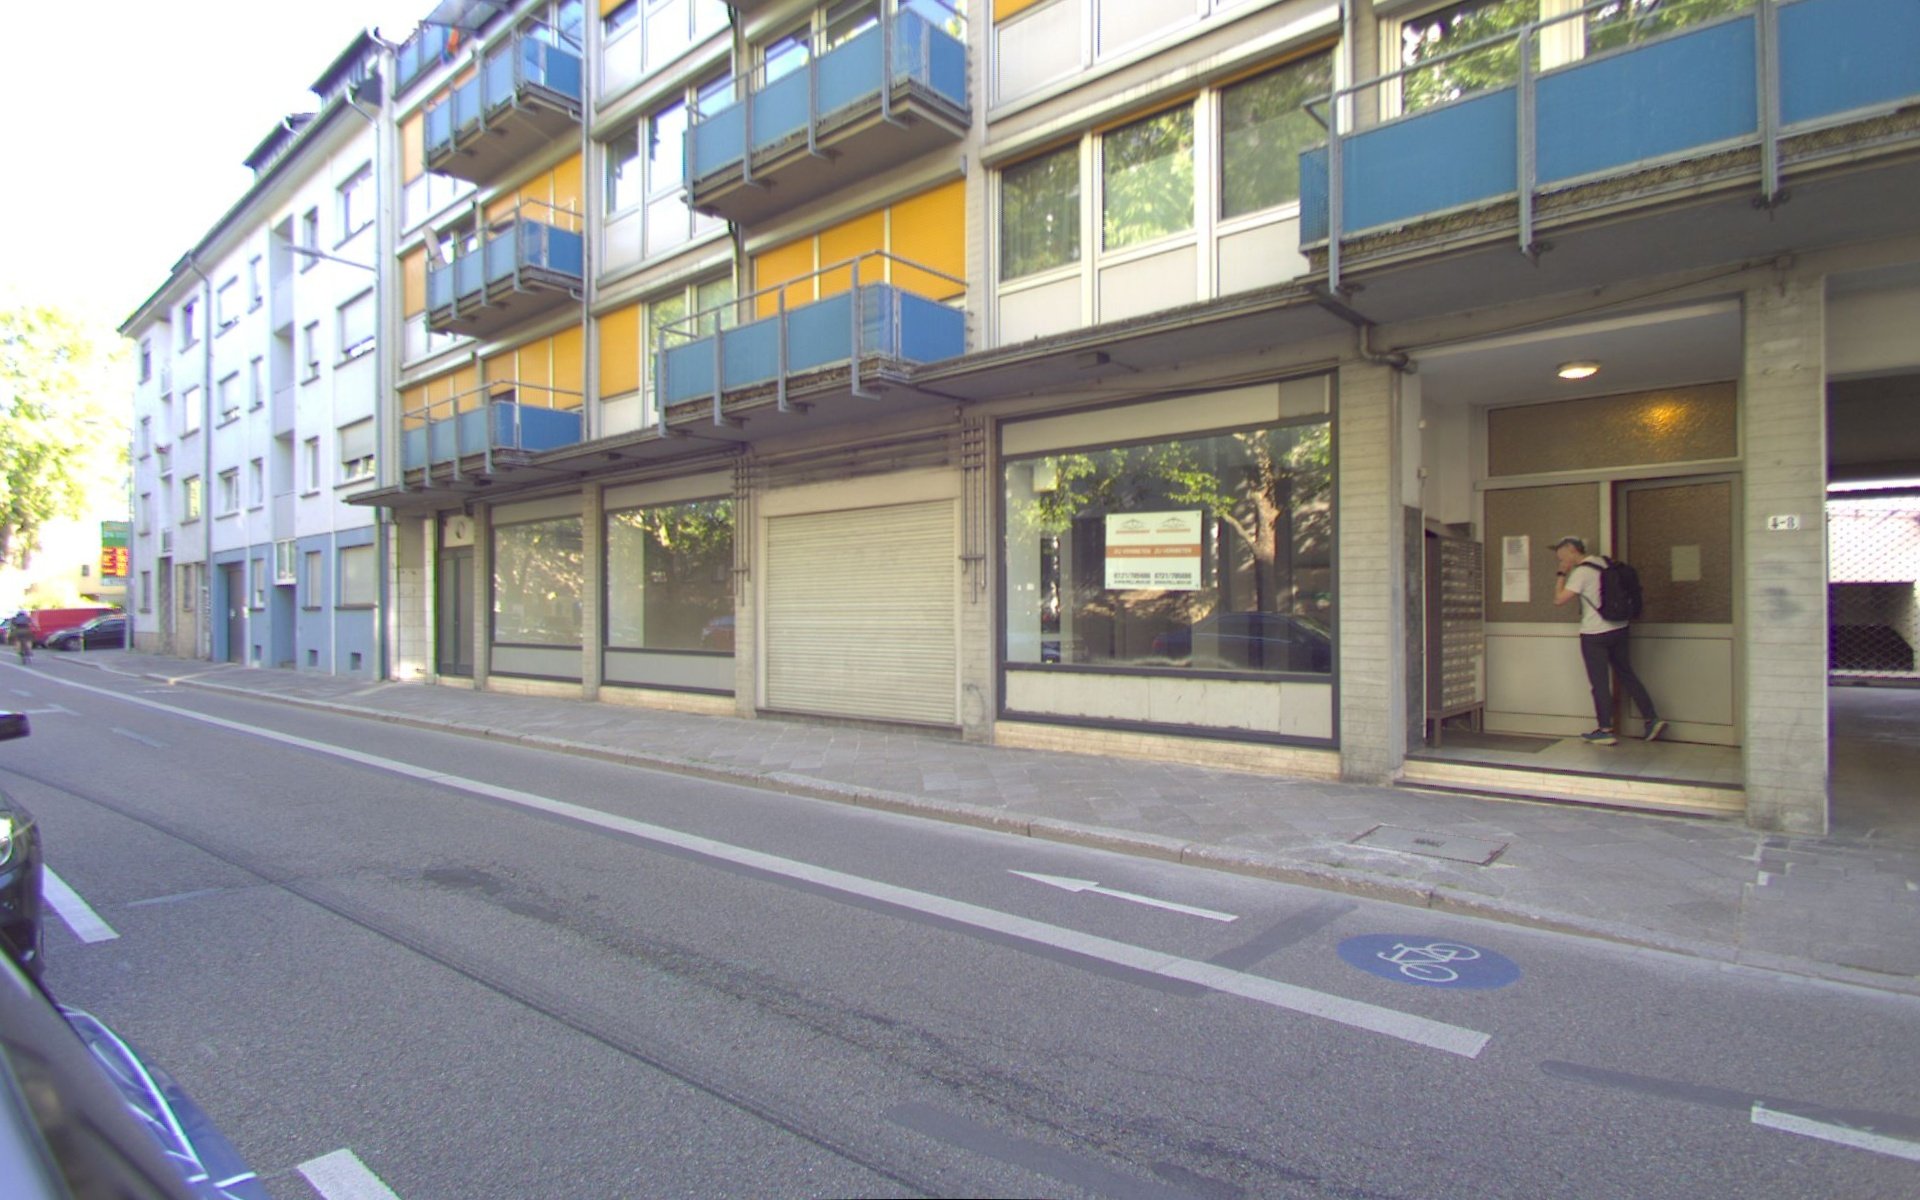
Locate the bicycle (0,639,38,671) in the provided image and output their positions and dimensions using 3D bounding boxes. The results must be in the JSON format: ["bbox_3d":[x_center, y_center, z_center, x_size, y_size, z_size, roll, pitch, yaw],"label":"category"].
[{"bbox_3d":[-30.993,1.793,33.283,2.217,0.928,0.756,-1,0,41],"label":"bicycle"}]

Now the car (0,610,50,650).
[{"bbox_3d":[-62.808,1.957,66.785,2.000,2.538,3.944,-1,0,42],"label":"car"}]

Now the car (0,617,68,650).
[{"bbox_3d":[-59.216,2.110,64.016,2.000,1.962,3.944,-1,0,42],"label":"car"}]

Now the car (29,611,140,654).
[{"bbox_3d":[-43.439,1.574,50.253,2.000,1.962,3.944,-1,0,42],"label":"car"}]

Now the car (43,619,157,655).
[{"bbox_3d":[-41.184,1.744,48.528,2.000,1.564,3.944,-1,0,42],"label":"car"}]

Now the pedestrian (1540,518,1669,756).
[{"bbox_3d":[5.451,0.296,8.564,0.573,1.894,0.787,-1,0,-44],"label":"pedestrian"}]

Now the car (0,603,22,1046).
[{"bbox_3d":[-5.528,0.807,4.283,4.479,1.512,1.842,-1,-1,41],"label":"car"}]

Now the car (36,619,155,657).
[{"bbox_3d":[-39.765,1.726,46.607,2.000,1.564,3.944,-1,0,42],"label":"car"}]

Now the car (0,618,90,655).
[{"bbox_3d":[-51.579,2.012,56.830,2.000,1.962,3.944,-1,0,42],"label":"car"}]

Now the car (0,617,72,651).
[{"bbox_3d":[-57.416,2.087,62.283,2.000,1.962,3.944,-1,0,42],"label":"car"}]

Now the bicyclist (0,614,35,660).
[{"bbox_3d":[-31.007,1.195,33.287,0.795,1.461,0.746,-1,0,41],"label":"bicyclist"}]

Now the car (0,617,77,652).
[{"bbox_3d":[-55.611,2.064,60.566,2.000,1.962,3.944,-1,0,42],"label":"car"}]

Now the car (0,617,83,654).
[{"bbox_3d":[-53.530,2.037,58.613,2.000,1.962,3.944,-1,0,42],"label":"car"}]
